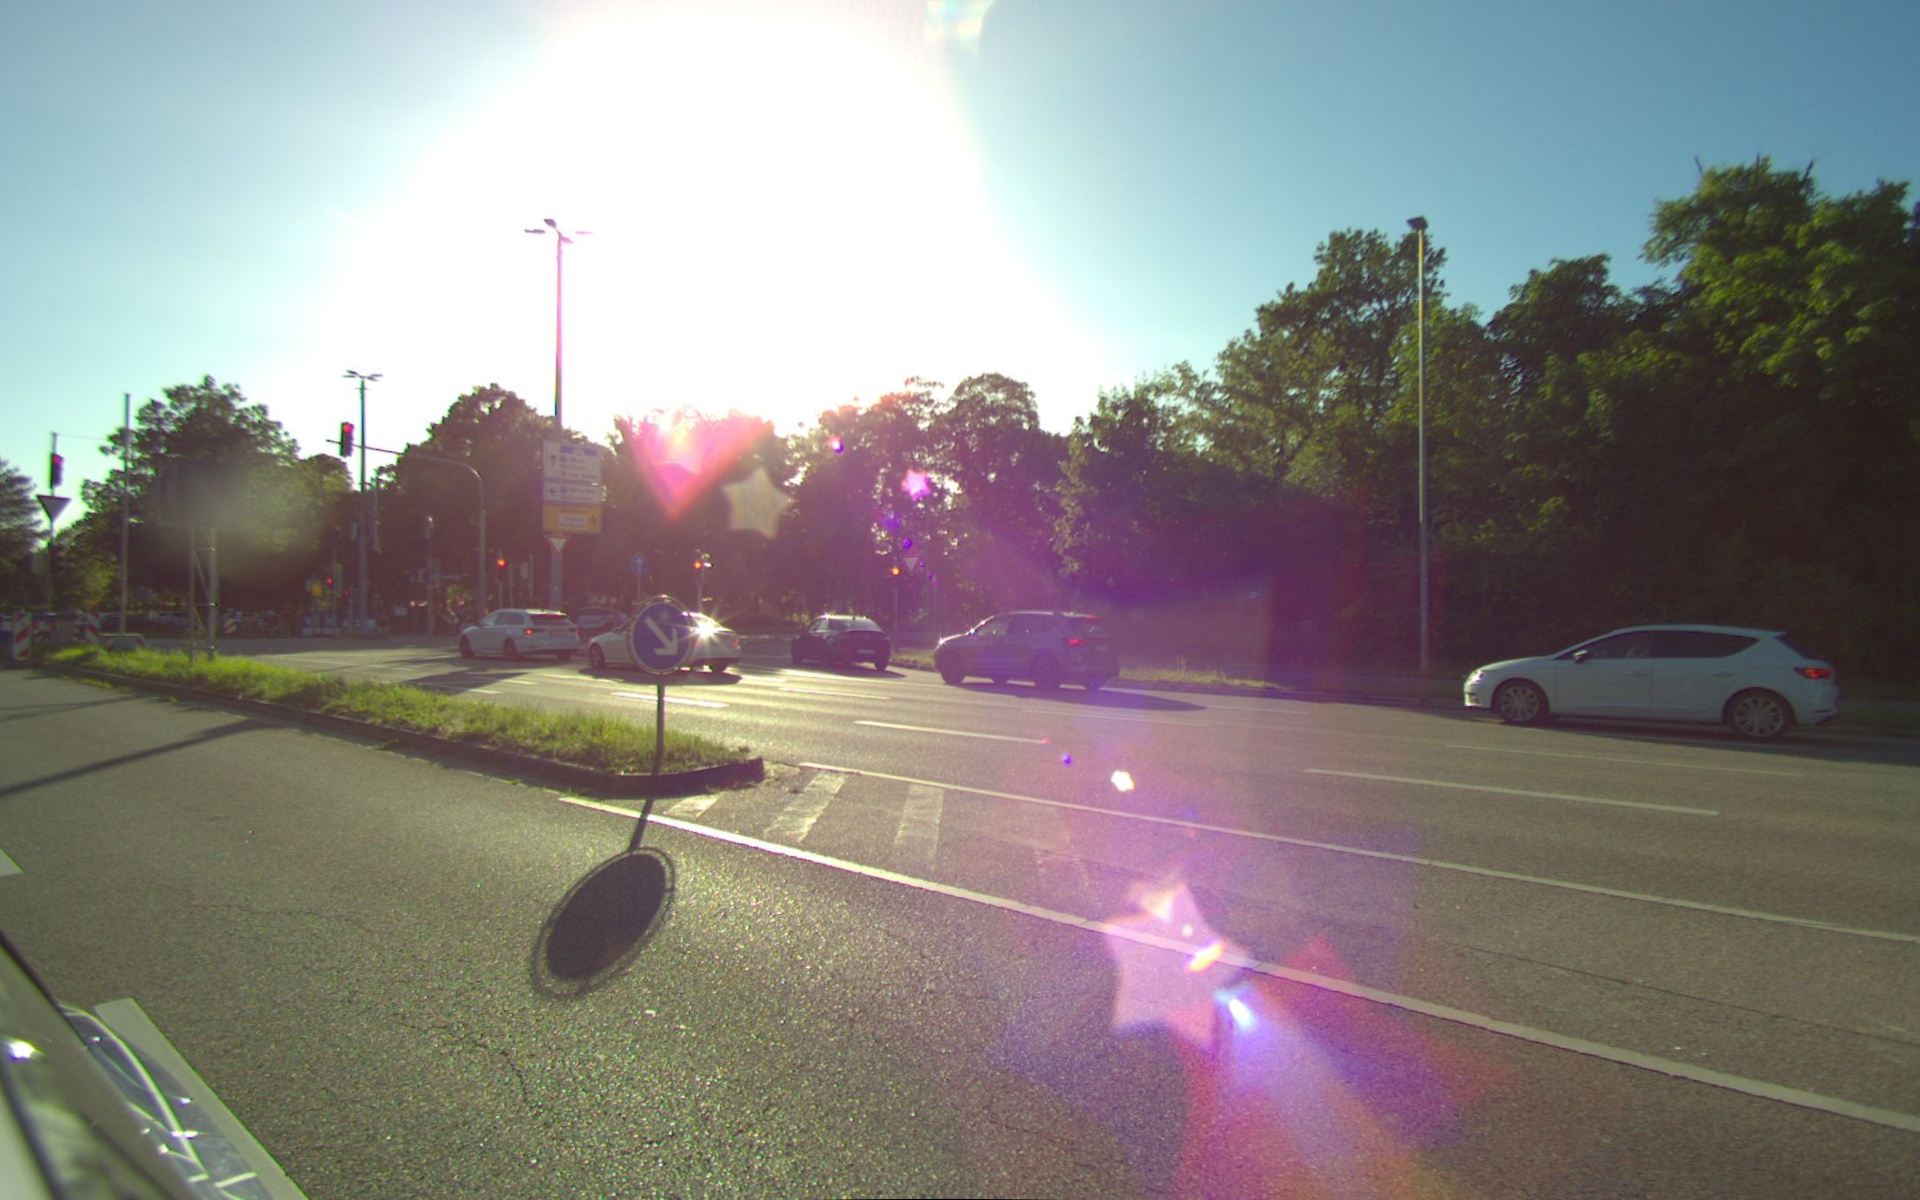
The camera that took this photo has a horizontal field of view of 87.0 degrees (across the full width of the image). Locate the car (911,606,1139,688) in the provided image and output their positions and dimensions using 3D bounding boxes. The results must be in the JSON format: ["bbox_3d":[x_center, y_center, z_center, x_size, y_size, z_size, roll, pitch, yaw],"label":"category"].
[{"bbox_3d":[1.298,0.946,21.599,4.648,1.576,1.972,0,-3,43],"label":"car"}]

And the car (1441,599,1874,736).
[{"bbox_3d":[9.362,0.829,13.895,4.645,1.576,1.973,0,-3,41],"label":"car"}]

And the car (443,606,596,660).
[{"bbox_3d":[-12.801,0.910,29.283,4.835,1.462,1.975,0,-1,38],"label":"car"}]

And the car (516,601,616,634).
[{"bbox_3d":[-21.346,0.927,54.903,4.669,1.699,2.003,0,-1,-41],"label":"car"}]

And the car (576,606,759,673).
[{"bbox_3d":[-7.095,0.886,24.331,4.644,1.462,1.973,0,-1,40],"label":"car"}]

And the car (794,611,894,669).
[{"bbox_3d":[-3.376,1.051,28.541,1.966,1.462,4.662,0,0,-17],"label":"car"}]

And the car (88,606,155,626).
[{"bbox_3d":[-72.114,1.341,87.110,1.989,1.530,3.966,0,1,25],"label":"car"}]
